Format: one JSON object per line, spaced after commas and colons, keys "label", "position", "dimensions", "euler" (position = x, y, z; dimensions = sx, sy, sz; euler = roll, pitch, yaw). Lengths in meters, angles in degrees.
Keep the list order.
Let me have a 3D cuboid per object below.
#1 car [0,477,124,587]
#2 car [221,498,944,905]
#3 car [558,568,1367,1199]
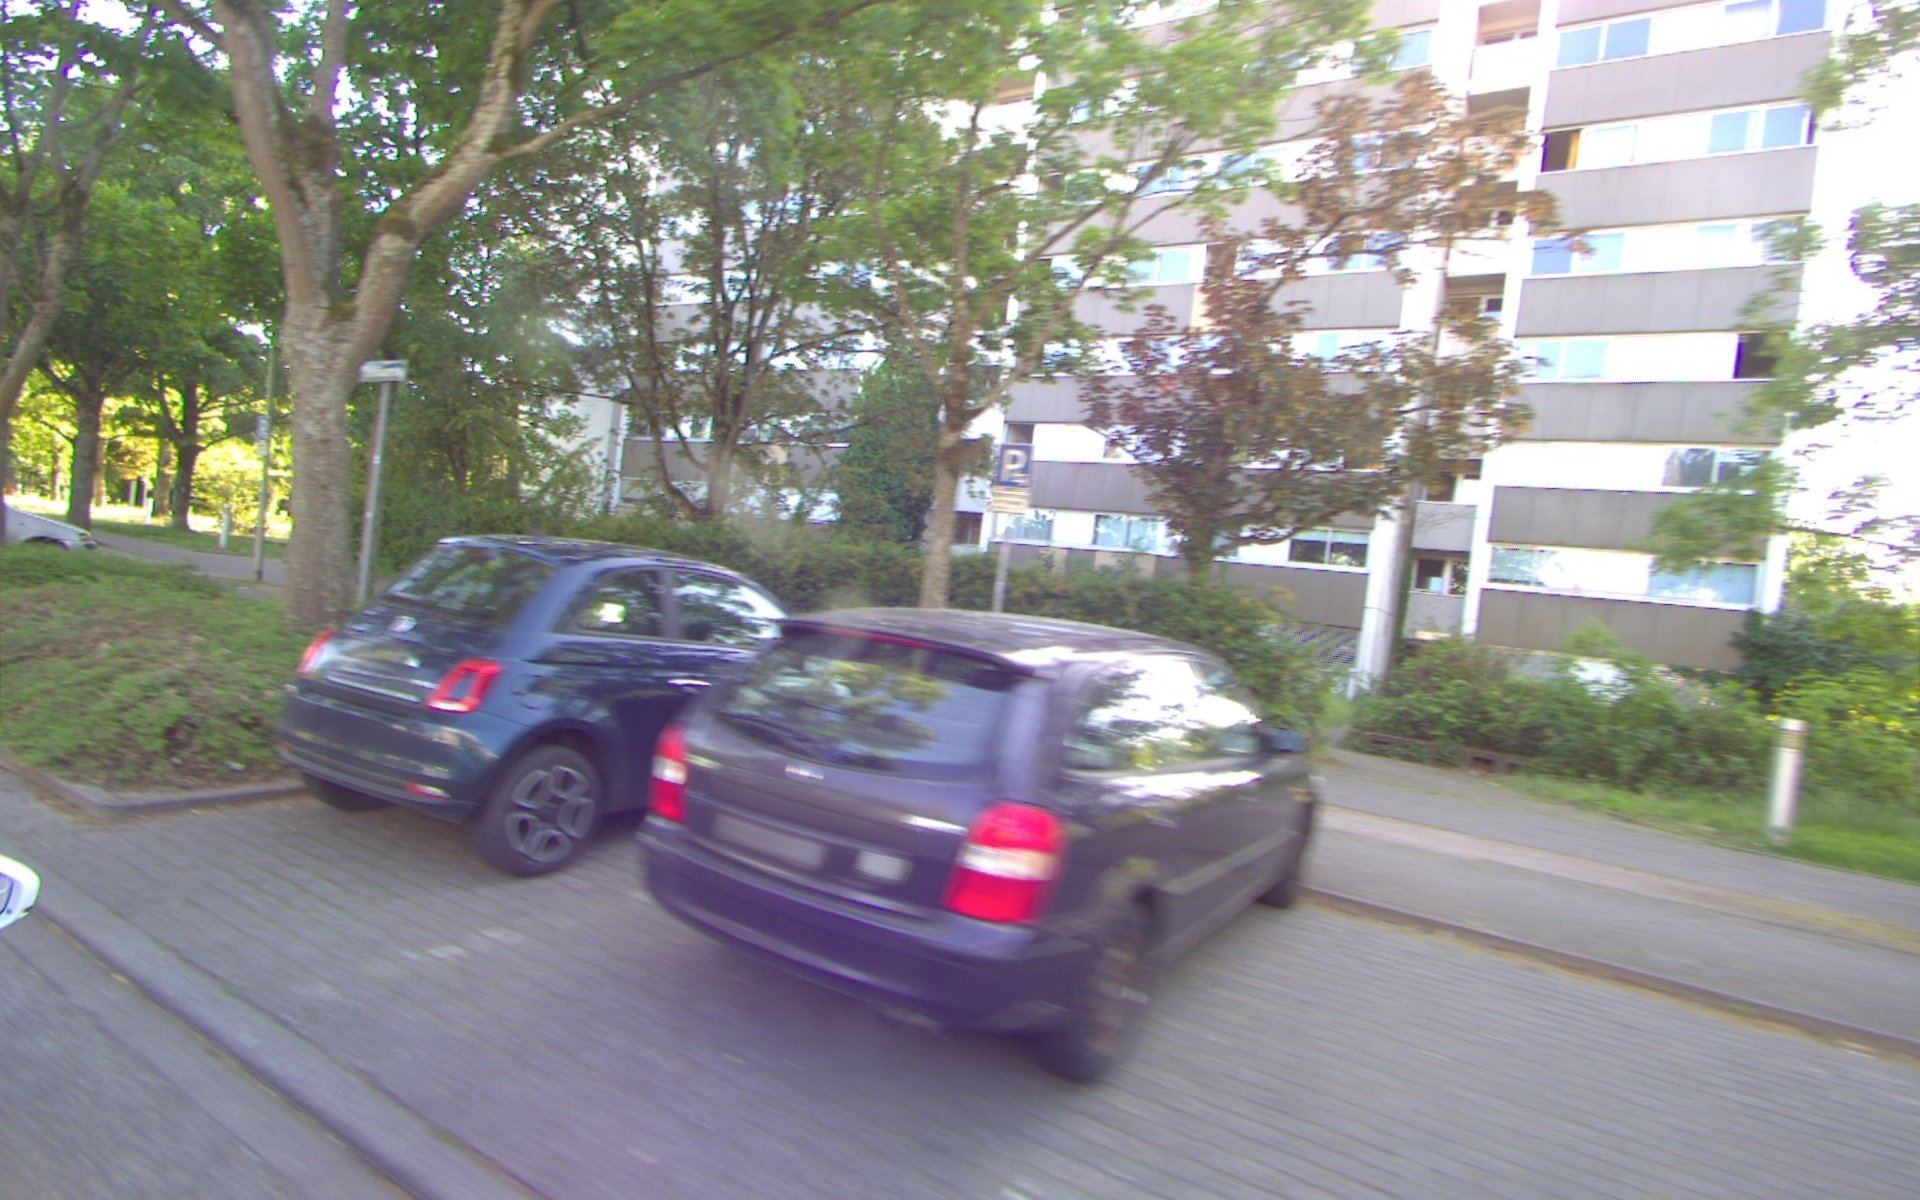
{"label": "car", "position": [-14.683, -1.119, 14.250], "dimensions": [1.688, 1.470, 3.989], "euler": [8, 1, 32]}
{"label": "car", "position": [-1.821, 0.427, 6.037], "dimensions": [1.672, 1.518, 3.813], "euler": [7, 2, 28]}
{"label": "car", "position": [0.491, 0.745, 4.609], "dimensions": [1.792, 1.405, 3.988], "euler": [7, 2, 31]}
